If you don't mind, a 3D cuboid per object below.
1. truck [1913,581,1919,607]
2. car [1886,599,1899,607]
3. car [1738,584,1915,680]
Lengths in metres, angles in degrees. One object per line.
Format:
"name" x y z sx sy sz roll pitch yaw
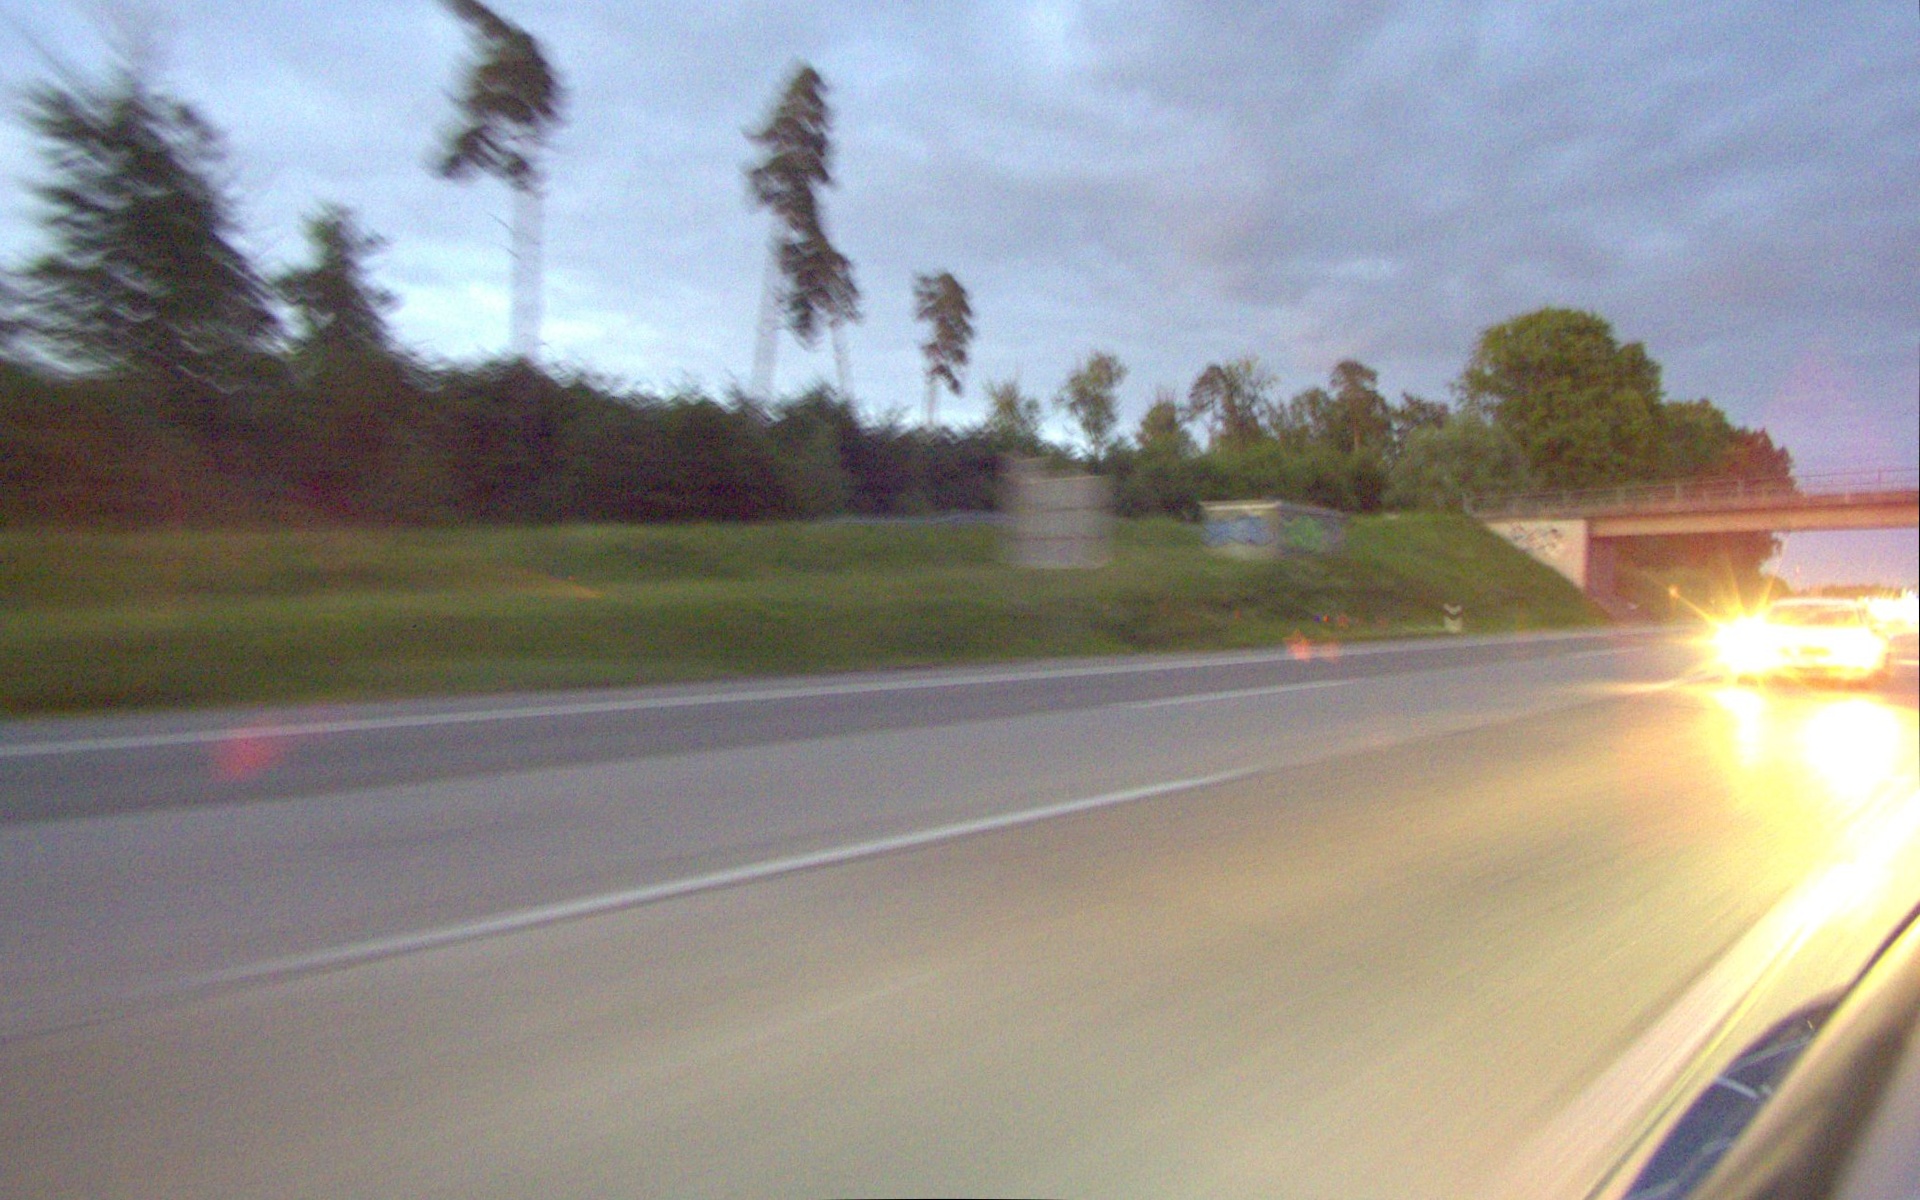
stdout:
"truck" 154.736 -0.961 161.786 3.136 4.062 10.381 1 0 42
"car" 169.295 0.539 183.701 1.814 1.398 3.980 0 0 43
"car" 15.641 0.527 18.162 5.043 1.485 1.811 1 0 -42
